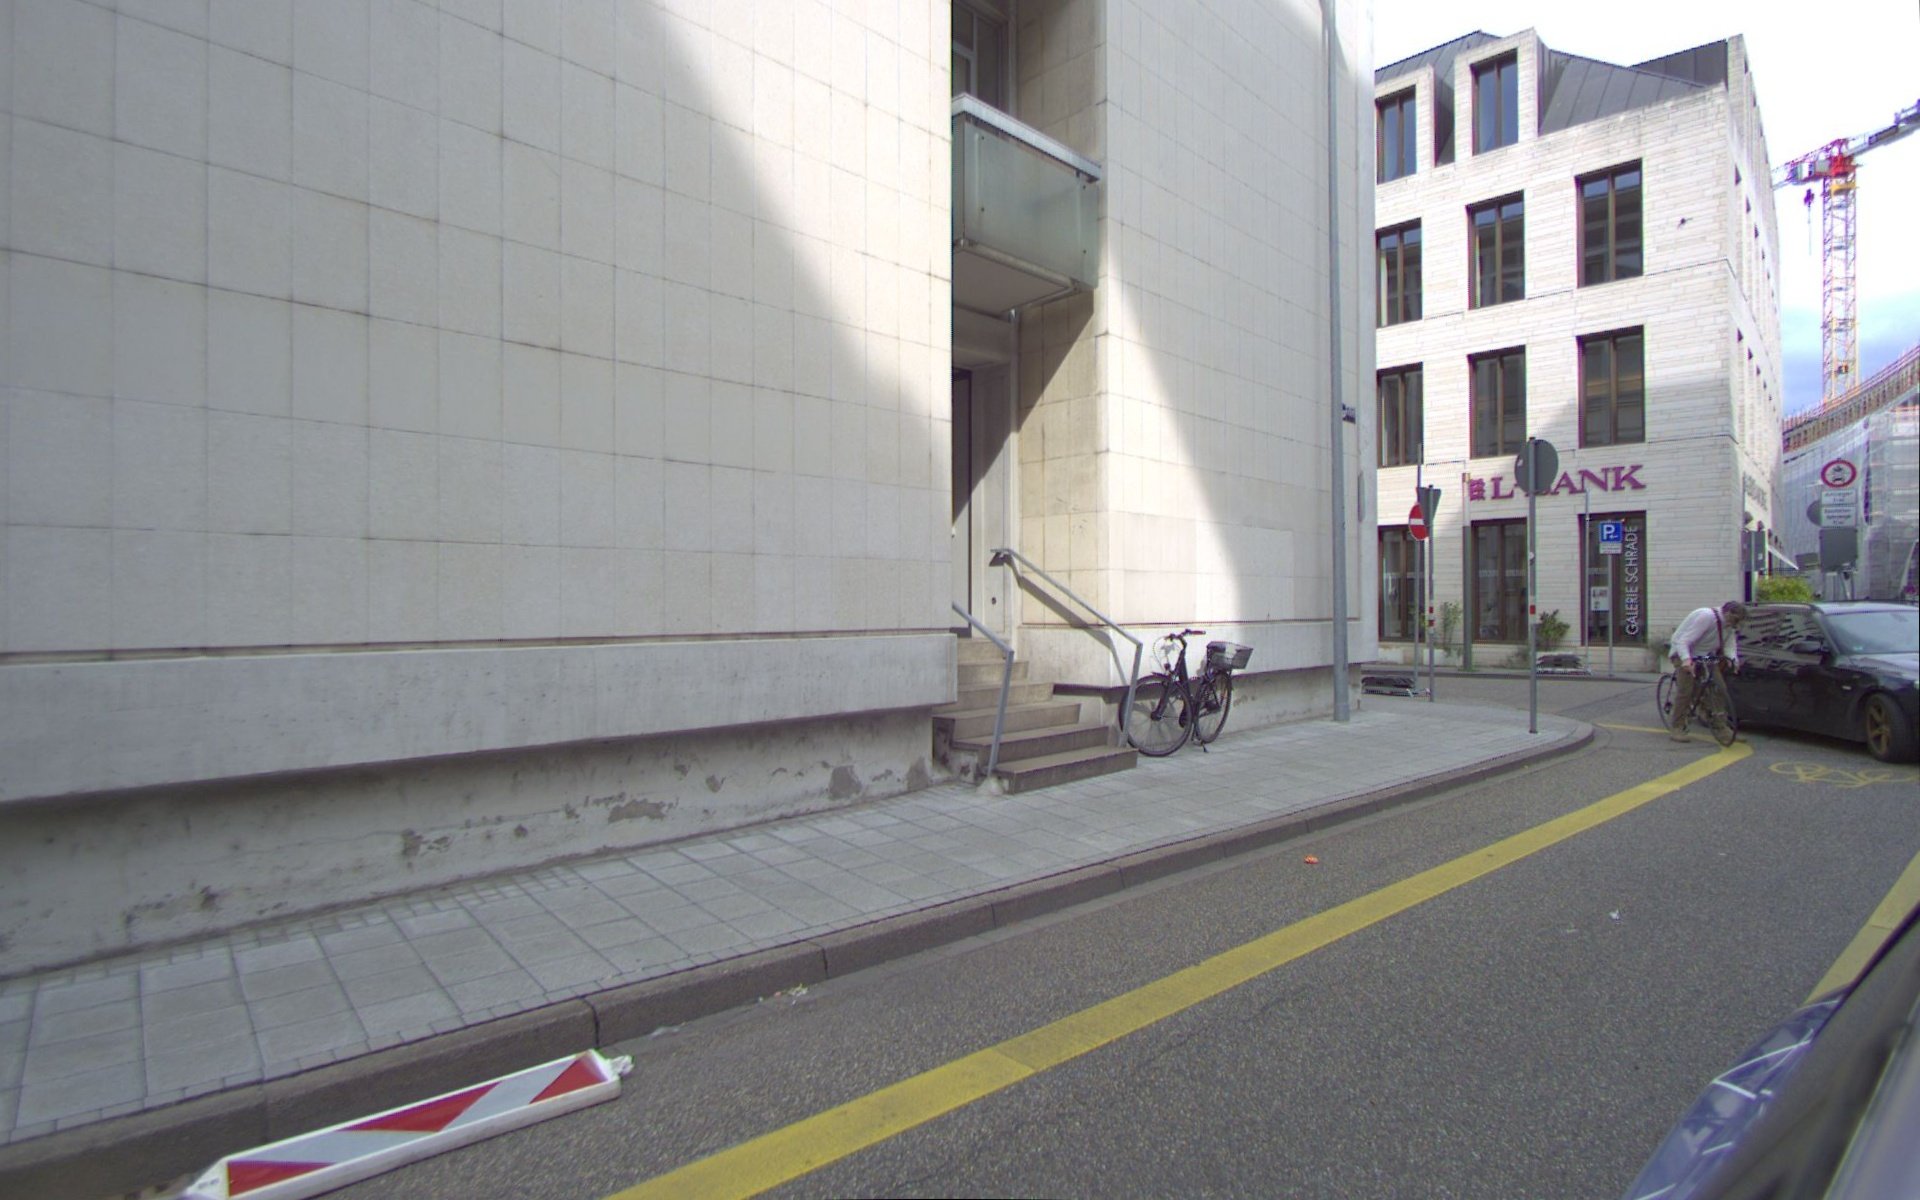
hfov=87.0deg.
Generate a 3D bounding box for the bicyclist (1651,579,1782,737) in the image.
[{"bbox_3d":[8.110,0.591,10.902,0.881,1.614,0.872,0,0,19],"label":"bicyclist"}]

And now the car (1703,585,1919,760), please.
[{"bbox_3d":[9.374,0.612,10.051,1.690,1.509,3.754,-1,0,10],"label":"car"}]

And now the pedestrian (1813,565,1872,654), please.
[{"bbox_3d":[18.824,0.187,21.602,0.767,1.854,0.853,0,0,29],"label":"pedestrian"}]

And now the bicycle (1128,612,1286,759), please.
[{"bbox_3d":[2.297,0.723,9.269,0.588,1.182,1.786,0,0,44],"label":"bicycle"}]

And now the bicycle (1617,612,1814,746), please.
[{"bbox_3d":[8.184,0.773,11.158,0.860,1.209,2.847,0,0,18],"label":"bicycle"}]
